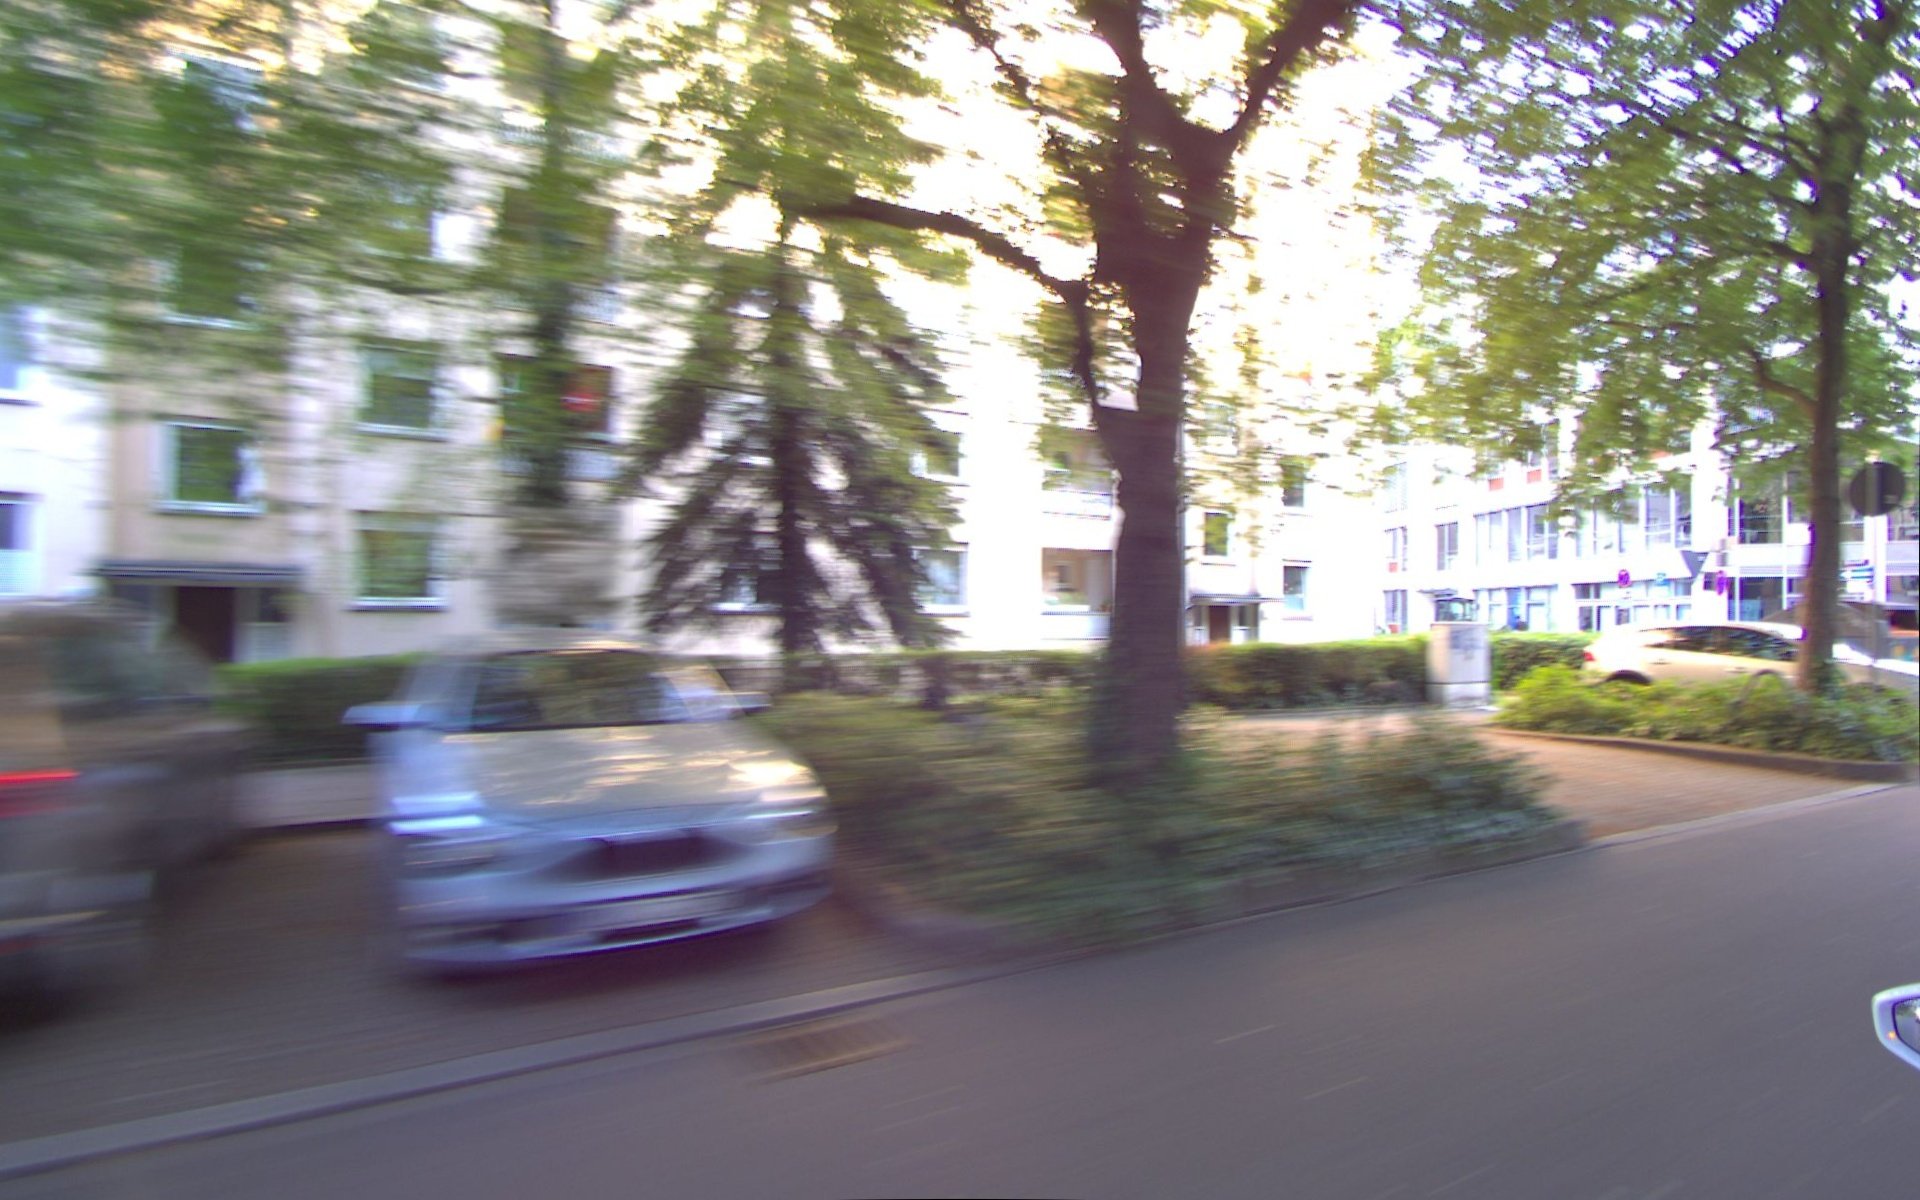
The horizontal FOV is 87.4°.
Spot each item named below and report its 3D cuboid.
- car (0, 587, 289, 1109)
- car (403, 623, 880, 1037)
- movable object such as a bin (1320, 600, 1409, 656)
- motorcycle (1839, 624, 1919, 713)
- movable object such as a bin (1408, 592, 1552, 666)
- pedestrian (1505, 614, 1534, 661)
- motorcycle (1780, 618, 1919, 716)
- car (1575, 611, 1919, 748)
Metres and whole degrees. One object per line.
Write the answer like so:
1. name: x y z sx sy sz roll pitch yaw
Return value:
1. car: -4.543 0.769 4.490 1.903 1.586 3.976 1 -1 -24
2. car: -2.209 0.877 5.927 1.857 1.448 4.268 1 -1 -29
3. movable object such as a bin: 19.590 1.350 48.806 2.243 2.574 4.092 0 -1 -9
4. motorcycle: 15.996 1.133 16.693 0.835 1.439 2.255 0 -1 1
5. movable object such as a bin: 20.649 1.137 40.279 2.242 2.728 5.640 0 -1 -9
6. pedestrian: 22.594 1.516 40.590 0.873 1.875 0.876 0 -1 19
7. motorcycle: 14.318 1.002 15.495 0.899 1.439 2.443 1 -1 -27
8. car: 11.208 0.949 13.544 2.049 1.573 4.602 1 -1 -27
